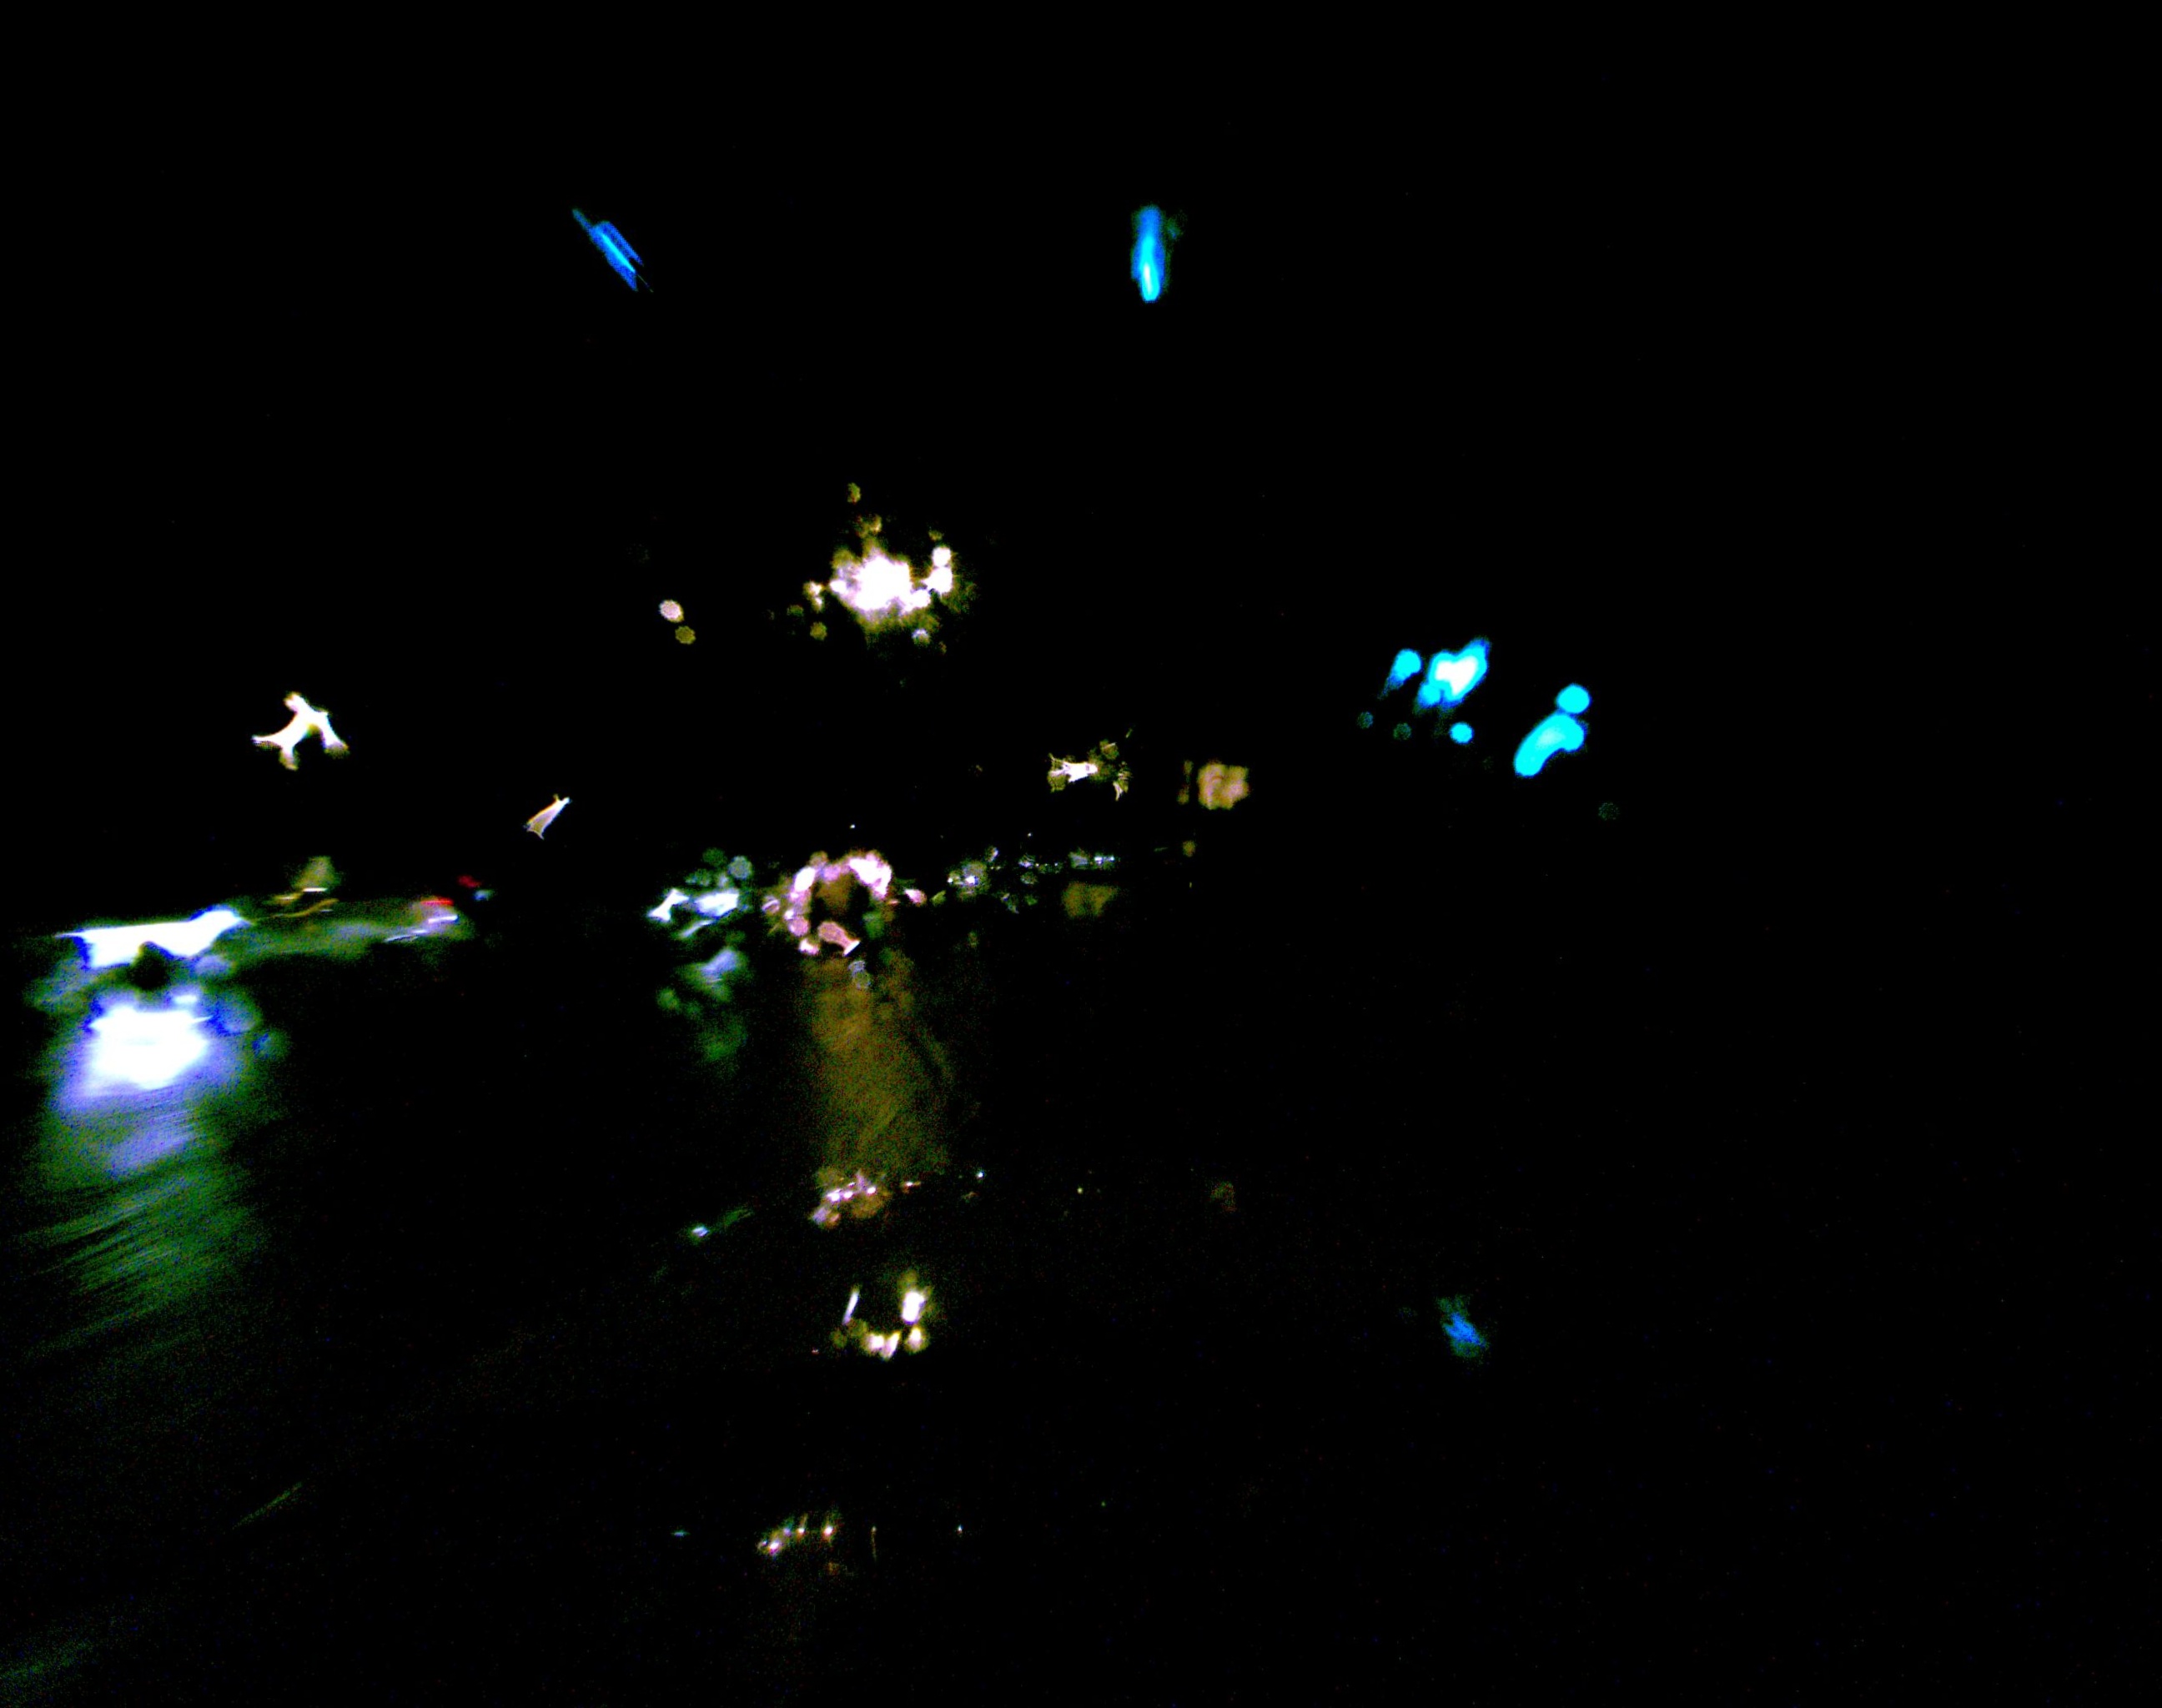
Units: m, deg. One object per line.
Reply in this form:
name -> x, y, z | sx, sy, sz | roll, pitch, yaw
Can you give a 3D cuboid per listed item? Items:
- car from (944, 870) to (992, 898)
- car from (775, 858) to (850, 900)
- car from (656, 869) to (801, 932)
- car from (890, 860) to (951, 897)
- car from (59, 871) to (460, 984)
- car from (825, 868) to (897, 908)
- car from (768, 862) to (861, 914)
car -> -6.743, 1.803, 49.001 | 1.699, 1.534, 4.608 | -1, -2, 7
car -> -11.758, 1.122, 35.911 | 1.988, 1.720, 3.998 | -1, -2, -1
car -> -9.797, 1.227, 23.101 | 1.690, 1.571, 4.718 | -1, -1, 5
car -> -7.891, 1.231, 40.409 | 1.708, 1.703, 4.151 | -1, -2, 7
car -> -13.533, 1.095, 14.012 | 1.785, 1.571, 4.915 | -1, -1, 2
car -> -8.827, 1.362, 32.985 | 1.577, 1.526, 3.658 | -1, -2, 6
car -> -9.236, 1.176, 28.547 | 1.673, 1.691, 3.953 | -1, -2, 5
